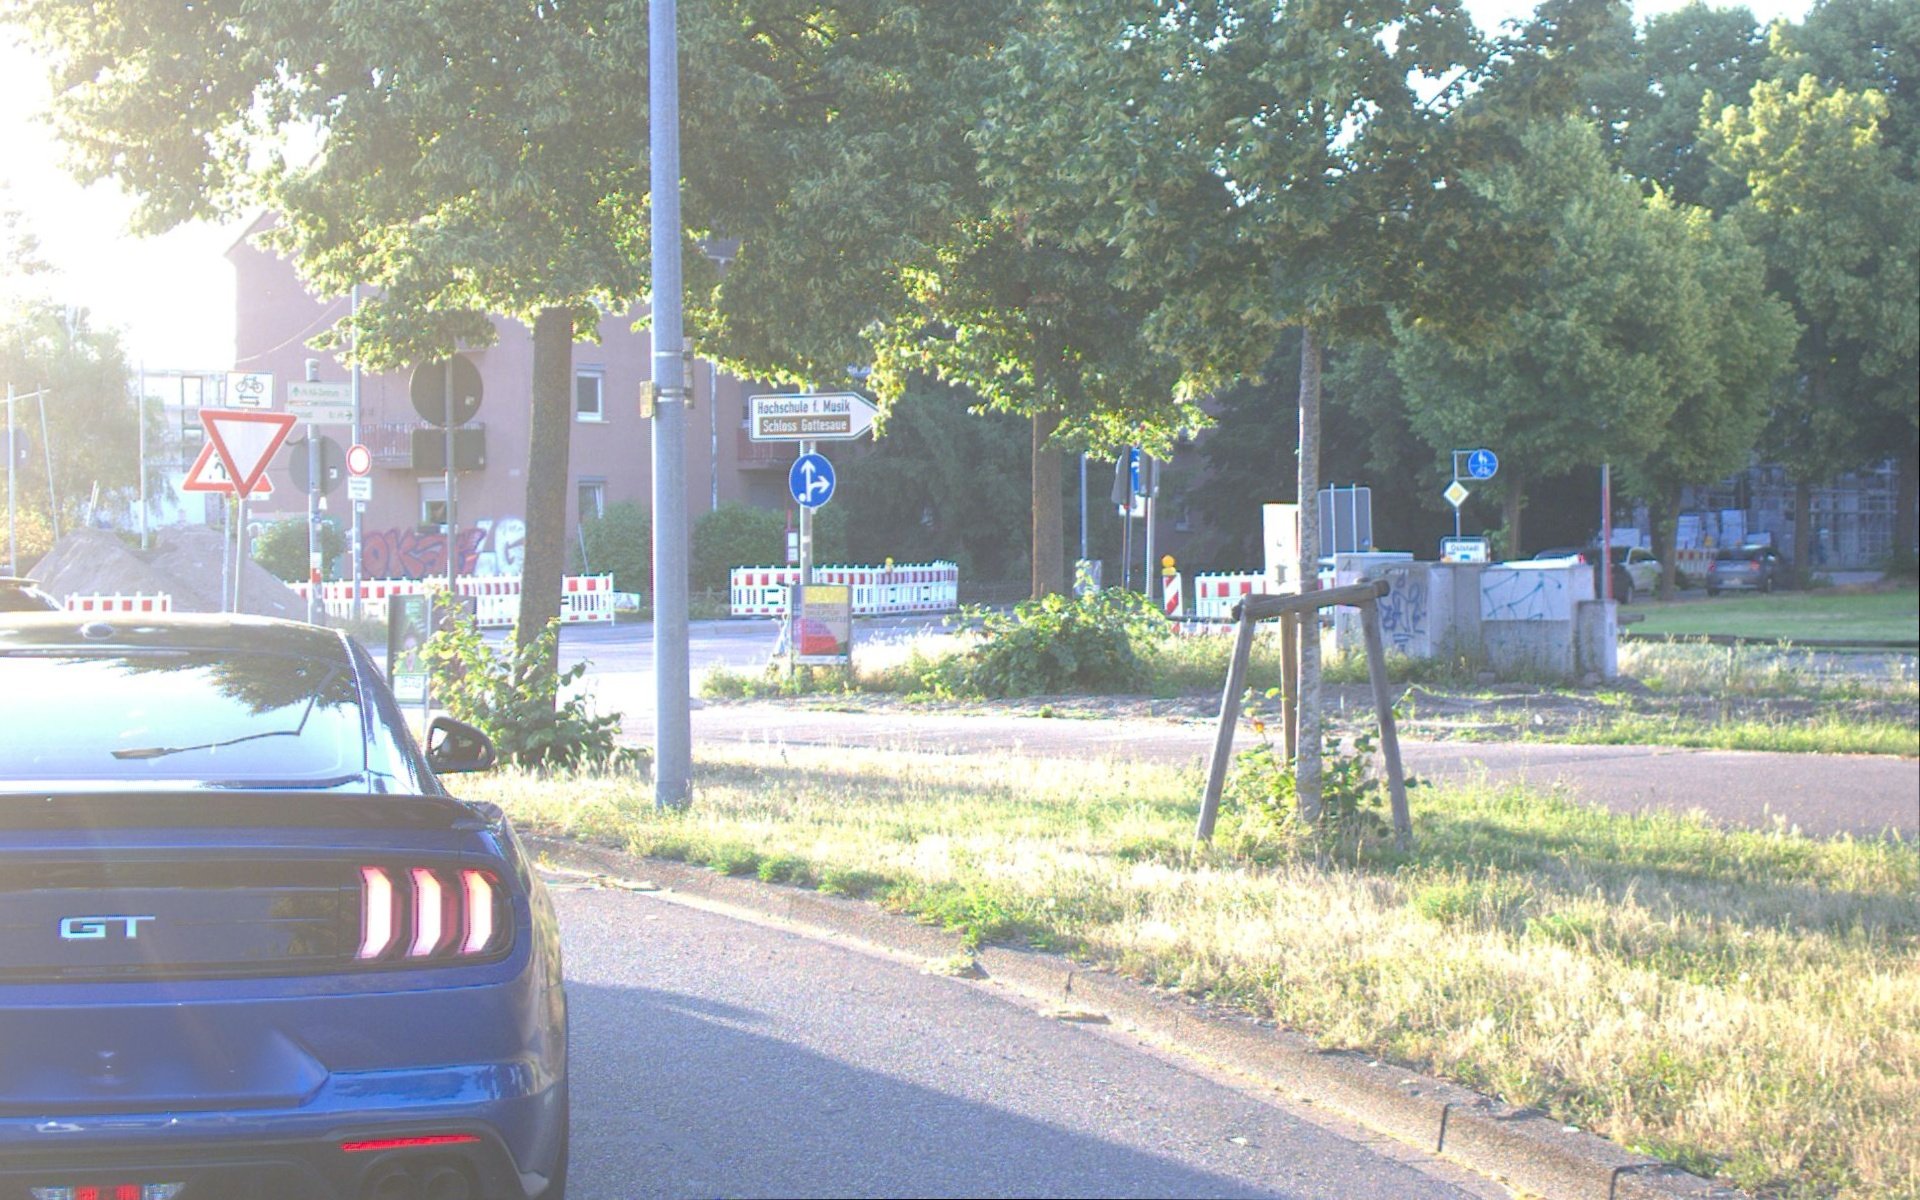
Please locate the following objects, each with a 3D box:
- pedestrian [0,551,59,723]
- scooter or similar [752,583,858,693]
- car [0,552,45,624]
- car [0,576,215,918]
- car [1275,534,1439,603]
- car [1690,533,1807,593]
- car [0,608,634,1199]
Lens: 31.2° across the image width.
[{"bbox_3d":[-9.607,0.357,34.216,0.886,1.680,0.844,0,1,35],"label":"pedestrian"},{"bbox_3d":[-1.767,0.427,39.207,1.120,1.234,0.442,-1,1,-21],"label":"scooter or similar"},{"bbox_3d":[-23.978,-0.293,83.027,1.994,1.700,3.998,-1,1,-42],"label":"car"},{"bbox_3d":[-5.052,0.609,16.234,1.951,1.422,4.430,1,0,-26],"label":"car"},{"bbox_3d":[8.364,-0.676,72.240,1.879,1.396,3.909,0,1,33],"label":"car"},{"bbox_3d":[21.781,-1.027,94.881,1.955,1.597,4.070,1,1,31],"label":"car"},{"bbox_3d":[-2.176,0.714,8.407,1.950,1.337,4.672,0,0,-16],"label":"car"}]
